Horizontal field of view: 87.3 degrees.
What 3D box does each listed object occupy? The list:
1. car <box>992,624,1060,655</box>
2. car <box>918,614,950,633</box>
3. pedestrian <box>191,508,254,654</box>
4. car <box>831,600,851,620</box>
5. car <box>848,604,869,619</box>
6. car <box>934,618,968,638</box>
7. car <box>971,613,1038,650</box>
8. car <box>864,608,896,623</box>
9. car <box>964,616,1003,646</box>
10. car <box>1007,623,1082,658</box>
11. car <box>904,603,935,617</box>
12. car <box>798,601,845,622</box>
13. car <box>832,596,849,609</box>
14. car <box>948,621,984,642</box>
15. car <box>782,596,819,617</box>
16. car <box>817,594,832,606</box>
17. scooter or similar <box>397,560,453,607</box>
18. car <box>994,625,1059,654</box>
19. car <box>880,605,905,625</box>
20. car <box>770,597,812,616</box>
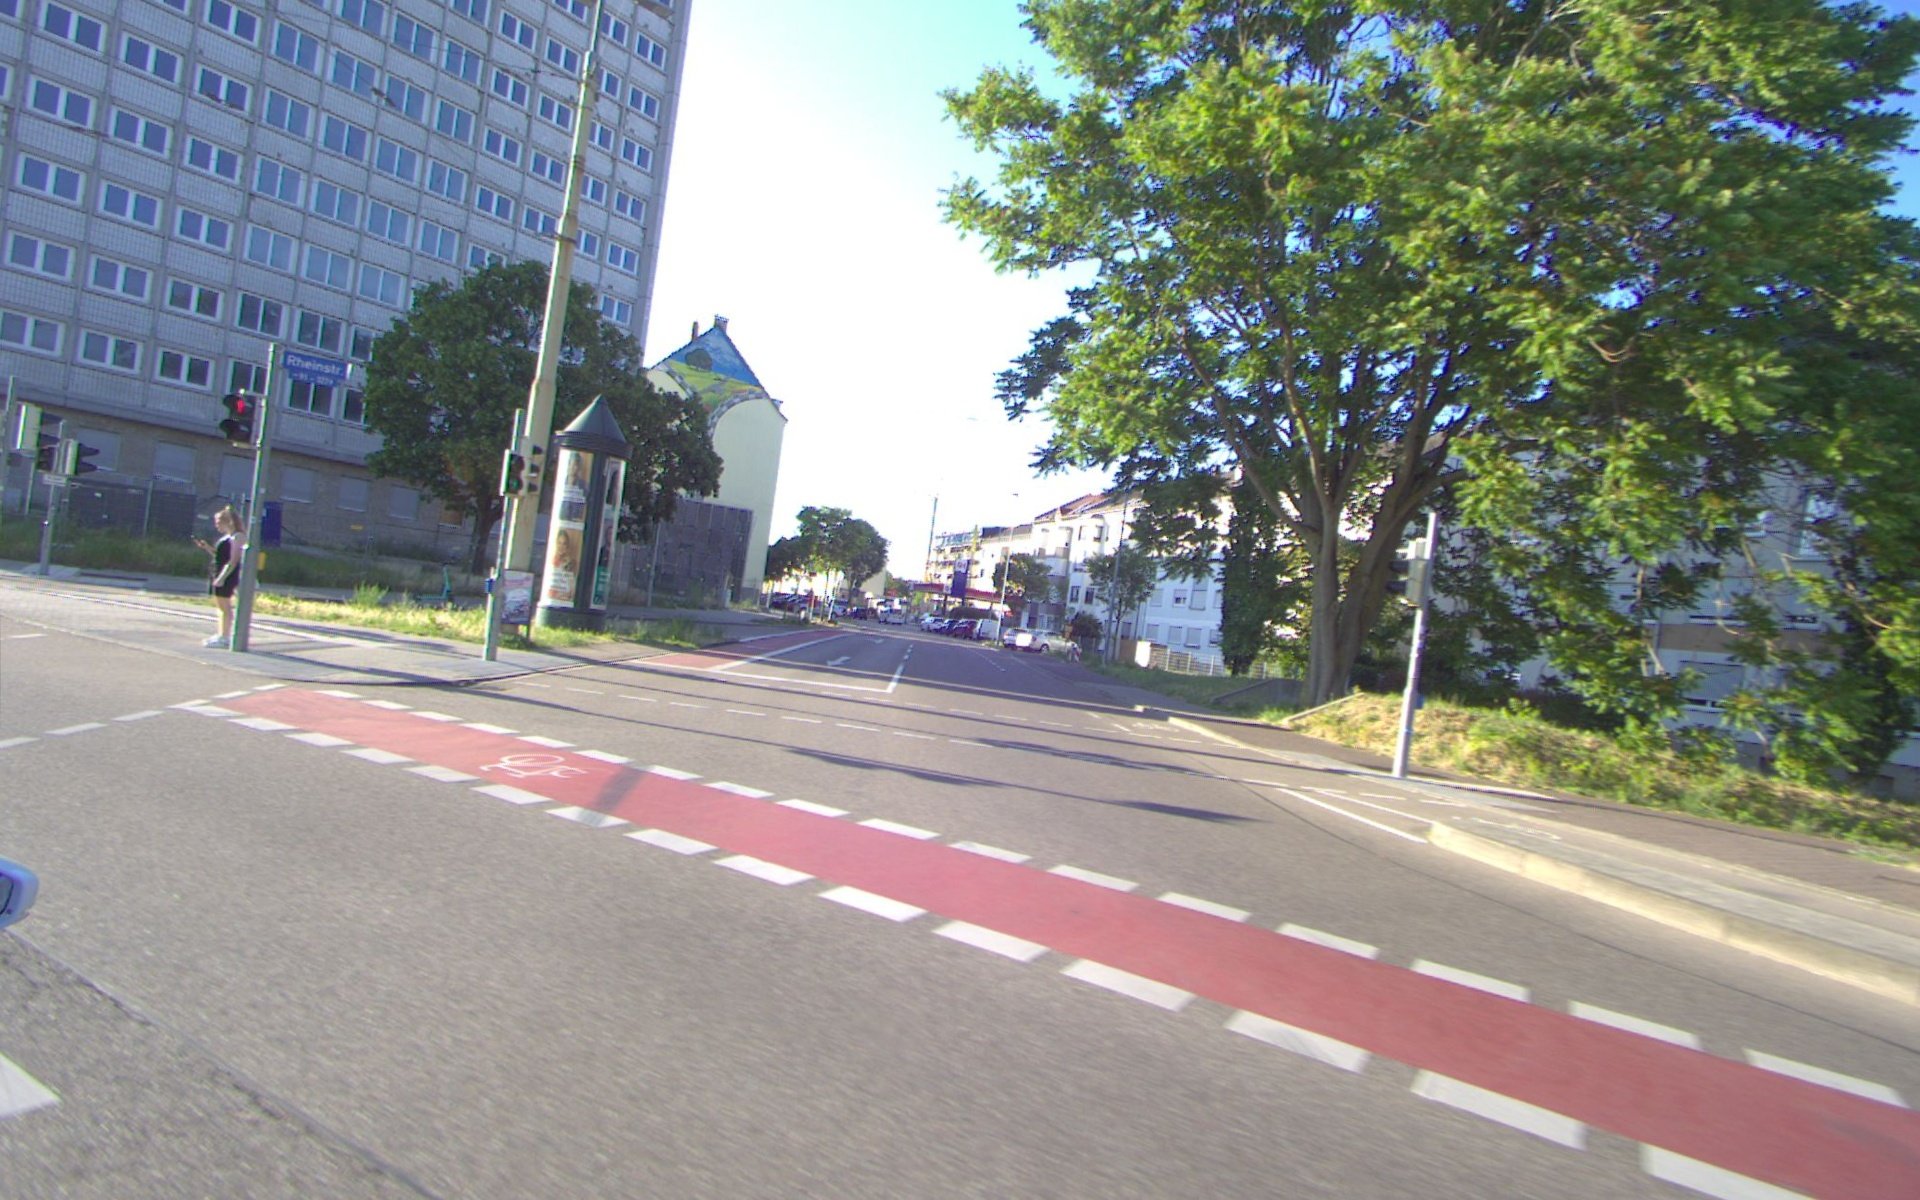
[{"bbox_3d":[4.188,2.485,63.301,3.971,1.442,1.882,8,-2,-40],"label":"car"},{"bbox_3d":[-2.444,2.237,95.121,1.806,1.401,3.985,9,-1,-18],"label":"car"},{"bbox_3d":[-8.614,-0.223,11.747,0.434,1.632,0.623,6,0,-38],"label":"pedestrian"},{"bbox_3d":[-13.174,1.113,111.431,1.834,1.927,3.993,7,-1,-10],"label":"car"},{"bbox_3d":[-13.132,1.504,129.834,1.906,1.562,3.987,7,-1,-17],"label":"car"},{"bbox_3d":[-0.855,2.500,89.702,1.861,1.401,3.988,9,-1,-16],"label":"car"},{"bbox_3d":[3.107,2.192,69.319,4.194,2.038,1.978,8,-1,-40],"label":"car"},{"bbox_3d":[-11.095,2.150,139.463,3.999,1.476,1.874,7,-1,-16],"label":"car"},{"bbox_3d":[1.789,2.400,78.891,1.967,2.038,3.992,7,-1,-12],"label":"car"},{"bbox_3d":[5.048,2.440,60.087,4.188,1.582,1.763,8,-1,-35],"label":"car"},{"bbox_3d":[-5.701,1.461,141.479,3.999,1.476,1.874,7,-1,-16],"label":"car"},{"bbox_3d":[-11.826,0.982,86.027,3.659,1.316,1.506,8,-1,-19],"label":"car"},{"bbox_3d":[-17.725,0.341,149.043,1.835,1.562,3.869,7,-1,-13],"label":"car"},{"bbox_3d":[0.458,2.628,84.627,1.891,1.401,3.963,9,-1,-16],"label":"car"},{"bbox_3d":[-14.289,0.557,90.098,2.983,1.555,1.264,7,-1,-13],"label":"car"},{"bbox_3d":[-21.886,-0.026,162.423,1.835,1.562,3.990,7,-1,-13],"label":"car"},{"bbox_3d":[-15.293,-0.454,28.783,0.322,1.184,1.295,7,0,42],"label":"scooter or similar"},{"bbox_3d":[4.401,2.599,66.334,3.971,1.399,1.882,8,-2,-40],"label":"car"},{"bbox_3d":[-7.525,1.659,112.003,1.837,1.927,3.987,7,-1,-17],"label":"car"},{"bbox_3d":[-15.610,0.605,92.916,3.507,1.366,1.700,7,-1,-19],"label":"car"}]
